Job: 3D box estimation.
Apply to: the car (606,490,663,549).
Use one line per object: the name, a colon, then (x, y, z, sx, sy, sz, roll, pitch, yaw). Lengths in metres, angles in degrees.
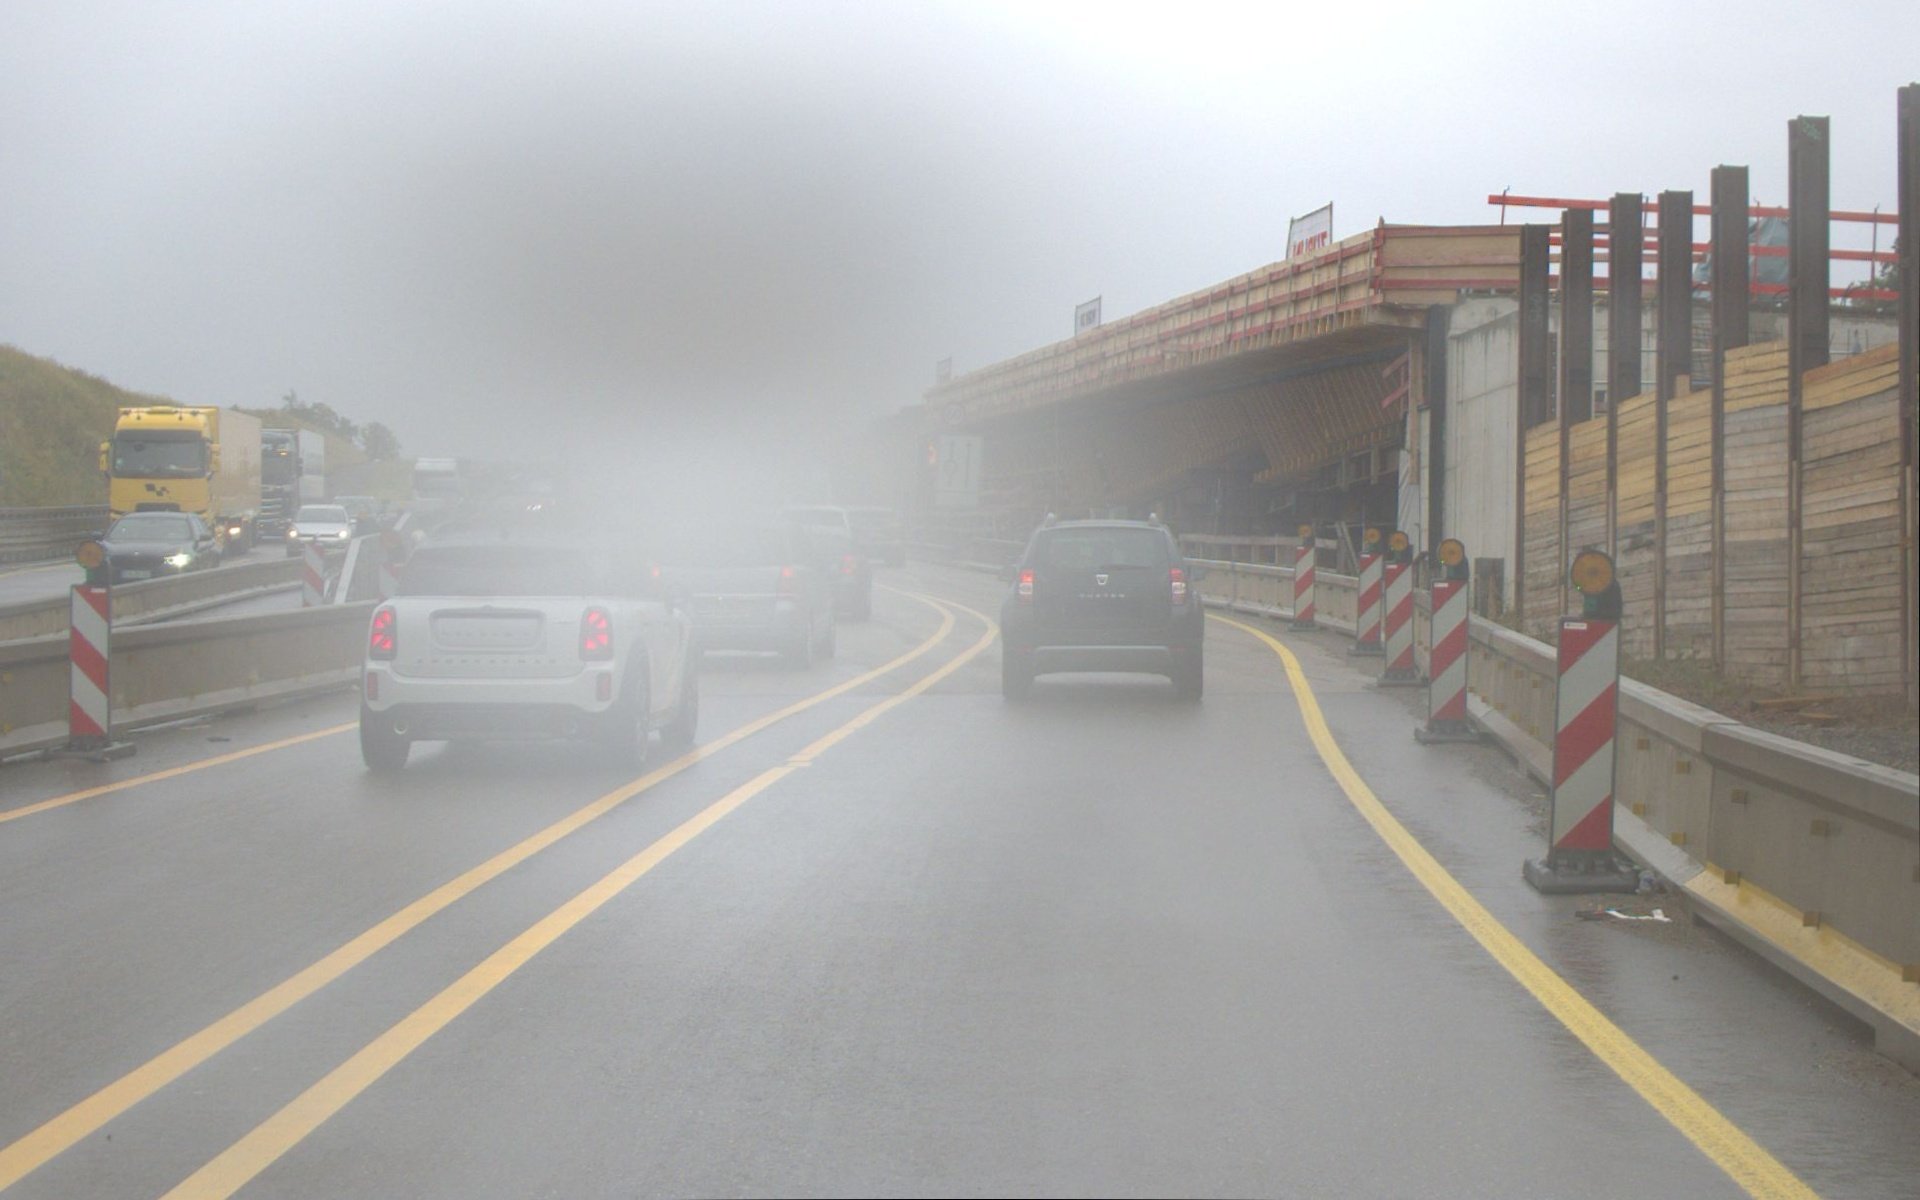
car: (-13.160, -3.247, 139.180, 1.993, 2.156, 4.140, 0, -2, -2)

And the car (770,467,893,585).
car: (-2.475, -1.370, 65.307, 1.993, 2.007, 3.894, 0, -2, -7)

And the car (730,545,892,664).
car: (-2.256, 0.103, 50.871, 1.993, 1.595, 4.141, 0, -2, -8)

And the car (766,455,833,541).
car: (-5.265, -3.298, 112.328, 1.993, 2.476, 4.982, 0, -2, -5)

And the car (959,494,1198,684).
car: (1.106, -0.044, 32.031, 2.081, 1.595, 4.140, 0, -2, 2)

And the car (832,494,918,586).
car: (-2.228, -1.516, 89.210, 1.993, 2.156, 4.140, 0, -2, -5)

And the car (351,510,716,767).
car: (-2.814, 0.301, 23.584, 1.816, 1.595, 4.307, 0, -2, 2)

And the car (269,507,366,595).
car: (-17.985, -1.345, 96.417, 2.238, 2.351, 4.877, 1, 0, -6)

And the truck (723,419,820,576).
truck: (-7.189, -3.826, 132.336, 3.101, 5.408, 9.441, 0, -2, 1)

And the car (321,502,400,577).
car: (-19.895, -1.982, 114.251, 2.216, 2.362, 4.664, 1, 0, -6)

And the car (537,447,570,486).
car: (-24.707, -8.098, 208.898, 1.993, 2.007, 4.000, 0, -2, -7)

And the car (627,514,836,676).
car: (-2.423, -0.010, 37.383, 1.993, 1.595, 4.140, 0, -2, 0)

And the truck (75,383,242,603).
truck: (-20.914, -2.661, 90.158, 3.141, 5.399, 8.524, 1, 0, -6)

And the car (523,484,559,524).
car: (-23.744, -5.410, 194.816, 1.993, 2.007, 4.000, 0, -2, -7)

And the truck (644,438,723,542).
truck: (-15.735, -6.135, 194.854, 3.803, 5.026, 12.922, 0, -2, -7)

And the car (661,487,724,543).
car: (-9.525, -3.013, 122.273, 1.993, 1.755, 3.815, 0, -2, -8)

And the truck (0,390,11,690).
truck: (-16.862, -1.010, 52.595, 3.082, 4.903, 8.565, 1, 0, -6)

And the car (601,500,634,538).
car: (-19.134, -4.497, 192.001, 1.849, 1.887, 4.021, 0, -2, -6)
